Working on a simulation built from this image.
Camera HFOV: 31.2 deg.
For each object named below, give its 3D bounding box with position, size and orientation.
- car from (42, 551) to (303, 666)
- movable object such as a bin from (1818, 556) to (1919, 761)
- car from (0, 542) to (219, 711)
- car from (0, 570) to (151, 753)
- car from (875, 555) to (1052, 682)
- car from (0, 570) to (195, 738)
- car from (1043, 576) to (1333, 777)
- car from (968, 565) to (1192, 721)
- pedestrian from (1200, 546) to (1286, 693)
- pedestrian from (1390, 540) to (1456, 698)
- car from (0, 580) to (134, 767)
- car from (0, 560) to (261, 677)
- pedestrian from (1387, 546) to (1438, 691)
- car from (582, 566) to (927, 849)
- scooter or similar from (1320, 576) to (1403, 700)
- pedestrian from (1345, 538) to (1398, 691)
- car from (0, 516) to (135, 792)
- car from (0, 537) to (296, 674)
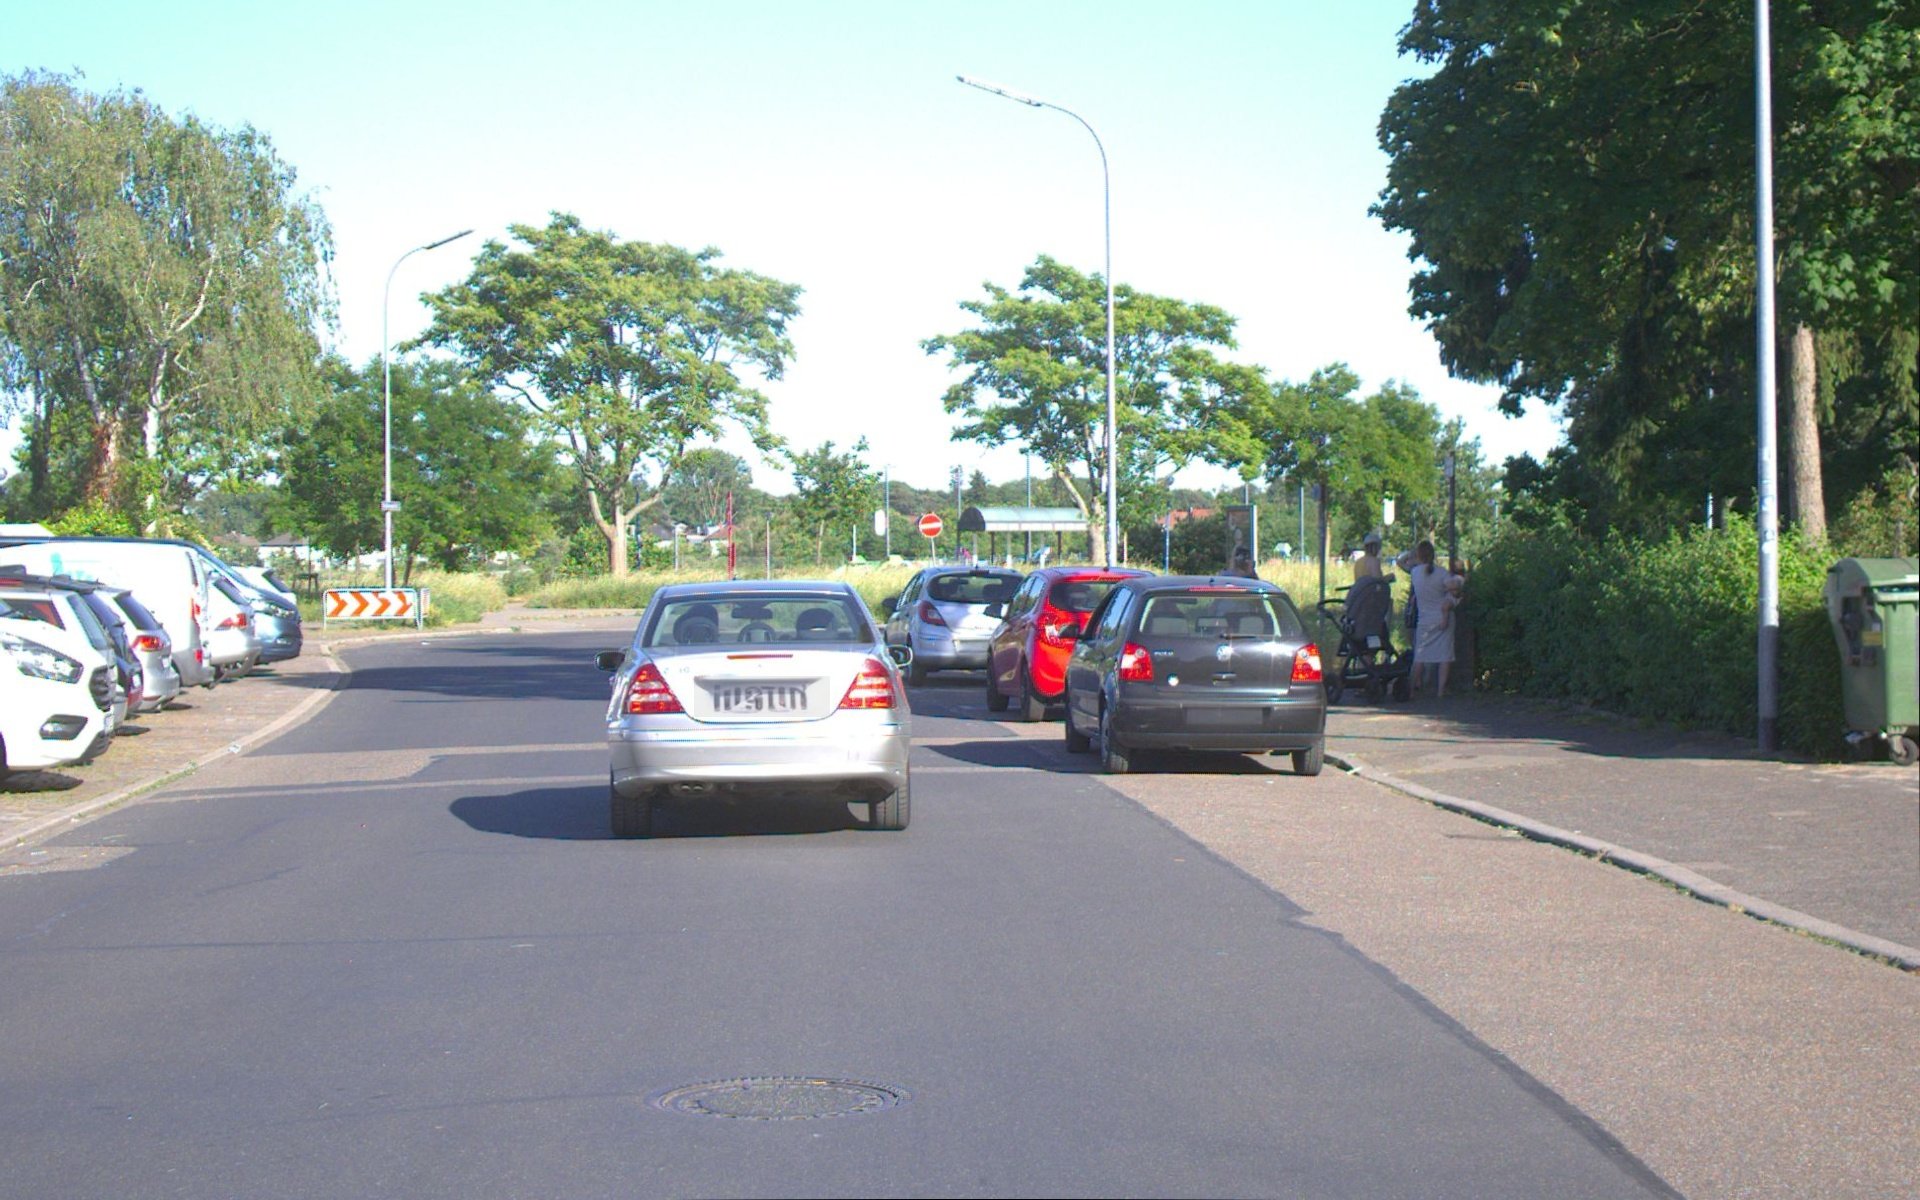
[{"bbox_3d":[-11.844,0.134,51.862,3.611,1.601,1.733,2,0,-6],"label":"car"},{"bbox_3d":[6.727,0.396,23.922,1.237,1.398,0.915,0,0,-4],"label":"movable object such as a bin"},{"bbox_3d":[-10.152,0.260,37.375,3.976,1.774,1.926,1,1,-9],"label":"car"},{"bbox_3d":[-8.858,0.489,29.614,3.513,1.484,1.637,1,2,-8],"label":"car"},{"bbox_3d":[0.001,0.224,43.767,1.731,1.538,3.789,1,0,-8],"label":"car"},{"bbox_3d":[-9.100,0.463,32.192,3.513,1.484,1.637,2,0,-3],"label":"car"},{"bbox_3d":[1.670,0.543,26.392,1.647,1.398,3.882,-1,0,-5],"label":"car"},{"bbox_3d":[1.130,0.403,33.927,1.575,1.441,3.789,1,0,-8],"label":"car"},{"bbox_3d":[3.052,0.212,37.138,0.787,1.559,0.570,2,0,-6],"label":"pedestrian"},{"bbox_3d":[4.639,0.188,34.481,0.485,1.559,0.469,-2,-1,-9],"label":"pedestrian"},{"bbox_3d":[-8.562,0.530,27.516,3.513,1.441,1.637,2,0,-3],"label":"car"},{"bbox_3d":[-11.664,0.237,46.559,4.136,1.487,1.926,1,0,-7],"label":"car"},{"bbox_3d":[4.753,0.195,36.112,0.361,1.498,0.501,-2,-1,-8],"label":"pedestrian"},{"bbox_3d":[-1.156,0.554,20.499,1.816,1.458,4.361,1,1,-2],"label":"car"},{"bbox_3d":[4.029,0.376,34.567,0.622,1.223,0.905,-1,0,-6],"label":"scooter or similar"},{"bbox_3d":[4.265,0.152,35.649,0.481,1.559,0.597,-2,-1,5],"label":"pedestrian"},{"bbox_3d":[-8.600,0.314,24.899,4.788,1.914,2.082,2,0,-5],"label":"car"},{"bbox_3d":[-11.974,0.081,49.062,4.870,1.909,2.000,0,0,-10],"label":"car"}]
